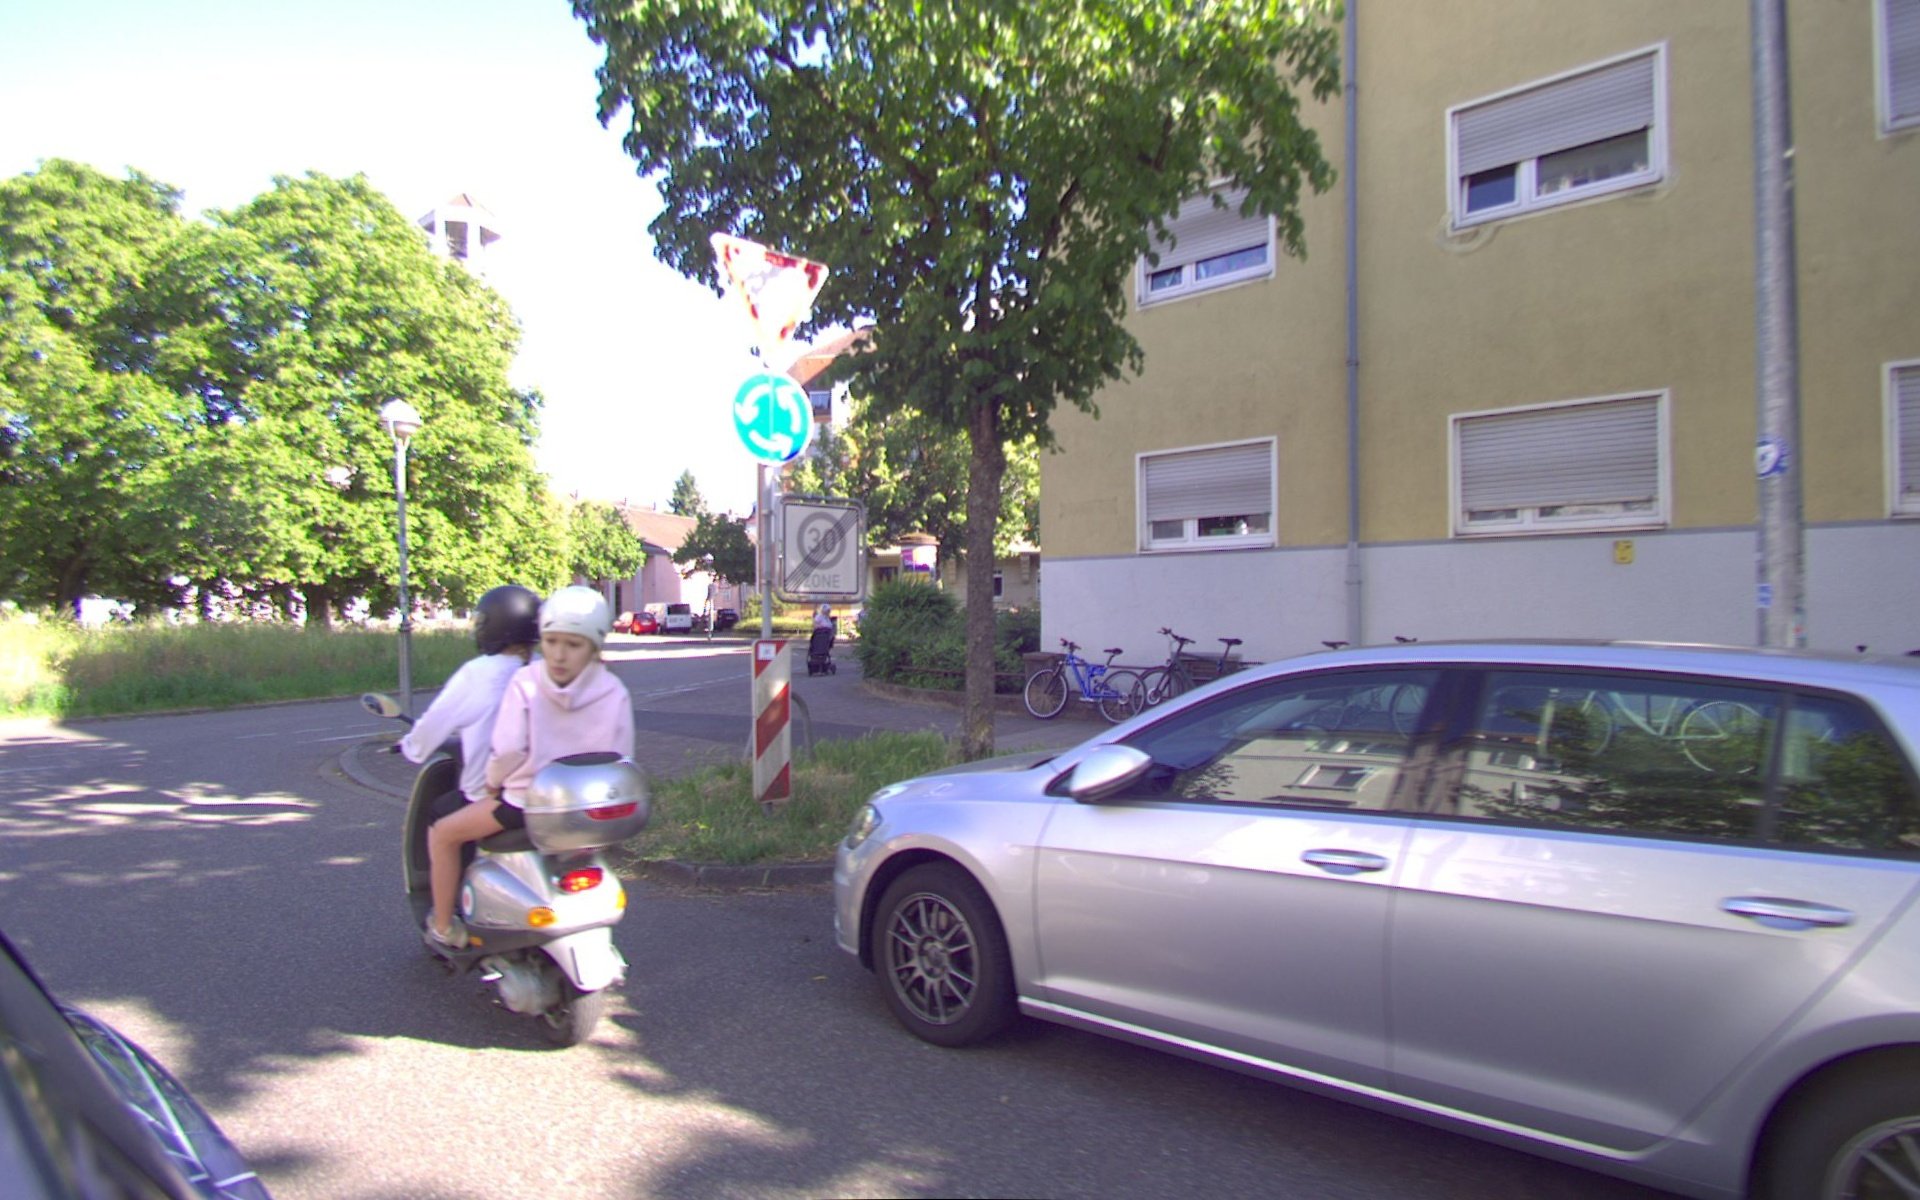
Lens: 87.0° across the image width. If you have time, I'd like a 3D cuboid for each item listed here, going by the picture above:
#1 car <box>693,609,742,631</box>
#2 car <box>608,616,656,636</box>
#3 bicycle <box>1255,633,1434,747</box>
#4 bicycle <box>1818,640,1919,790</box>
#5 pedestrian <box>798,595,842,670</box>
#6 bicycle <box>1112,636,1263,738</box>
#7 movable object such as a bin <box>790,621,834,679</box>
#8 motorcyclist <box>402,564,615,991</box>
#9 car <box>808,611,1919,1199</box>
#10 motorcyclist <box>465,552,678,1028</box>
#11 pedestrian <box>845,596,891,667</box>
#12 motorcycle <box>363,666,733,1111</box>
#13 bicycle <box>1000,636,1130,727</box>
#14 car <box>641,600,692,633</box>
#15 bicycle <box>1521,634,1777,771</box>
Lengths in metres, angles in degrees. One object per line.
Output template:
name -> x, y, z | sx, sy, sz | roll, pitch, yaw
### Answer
car -> -16.774, 1.389, 69.973 | 1.716, 1.491, 4.007 | 0, -1, -39
car -> -20.070, 1.572, 61.870 | 1.739, 1.187, 4.010 | 0, -1, -34
bicycle -> 3.681, 0.833, 9.769 | 1.544, 1.008, 0.448 | -2, -1, 42
bicycle -> 6.932, 0.794, 6.962 | 1.544, 1.008, 0.506 | -2, -1, 42
pedestrian -> -3.103, 0.714, 22.471 | 0.665, 1.627, 0.687 | -2, -1, 43
bicycle -> 2.416, 0.900, 10.878 | 1.544, 1.008, 0.470 | -2, -1, 42
movable object such as a bin -> -3.155, 1.053, 21.665 | 0.759, 1.205, 0.843 | -1, -1, 5
motorcyclist -> -1.664, 0.591, 3.732 | 0.519, 1.413, 0.547 | -1, -1, 41
car -> 1.527, 0.778, 3.278 | 3.989, 1.453, 1.743 | -1, -1, 38
motorcyclist -> -1.299, 0.576, 3.404 | 0.403, 1.437, 0.538 | -1, -1, 41
pedestrian -> -2.159, 0.724, 23.785 | 0.746, 1.627, 0.748 | -2, -1, 41
motorcycle -> -1.532, 0.864, 3.611 | 1.631, 1.184, 0.547 | -1, -1, 41
bicycle -> 1.219, 0.935, 12.004 | 1.544, 1.008, 0.471 | -2, -1, 42
car -> -18.642, 1.049, 64.240 | 1.967, 2.029, 4.010 | 0, -1, -34
bicycle -> 5.589, 0.787, 8.287 | 1.681, 1.008, 0.430 | -2, -1, 42
